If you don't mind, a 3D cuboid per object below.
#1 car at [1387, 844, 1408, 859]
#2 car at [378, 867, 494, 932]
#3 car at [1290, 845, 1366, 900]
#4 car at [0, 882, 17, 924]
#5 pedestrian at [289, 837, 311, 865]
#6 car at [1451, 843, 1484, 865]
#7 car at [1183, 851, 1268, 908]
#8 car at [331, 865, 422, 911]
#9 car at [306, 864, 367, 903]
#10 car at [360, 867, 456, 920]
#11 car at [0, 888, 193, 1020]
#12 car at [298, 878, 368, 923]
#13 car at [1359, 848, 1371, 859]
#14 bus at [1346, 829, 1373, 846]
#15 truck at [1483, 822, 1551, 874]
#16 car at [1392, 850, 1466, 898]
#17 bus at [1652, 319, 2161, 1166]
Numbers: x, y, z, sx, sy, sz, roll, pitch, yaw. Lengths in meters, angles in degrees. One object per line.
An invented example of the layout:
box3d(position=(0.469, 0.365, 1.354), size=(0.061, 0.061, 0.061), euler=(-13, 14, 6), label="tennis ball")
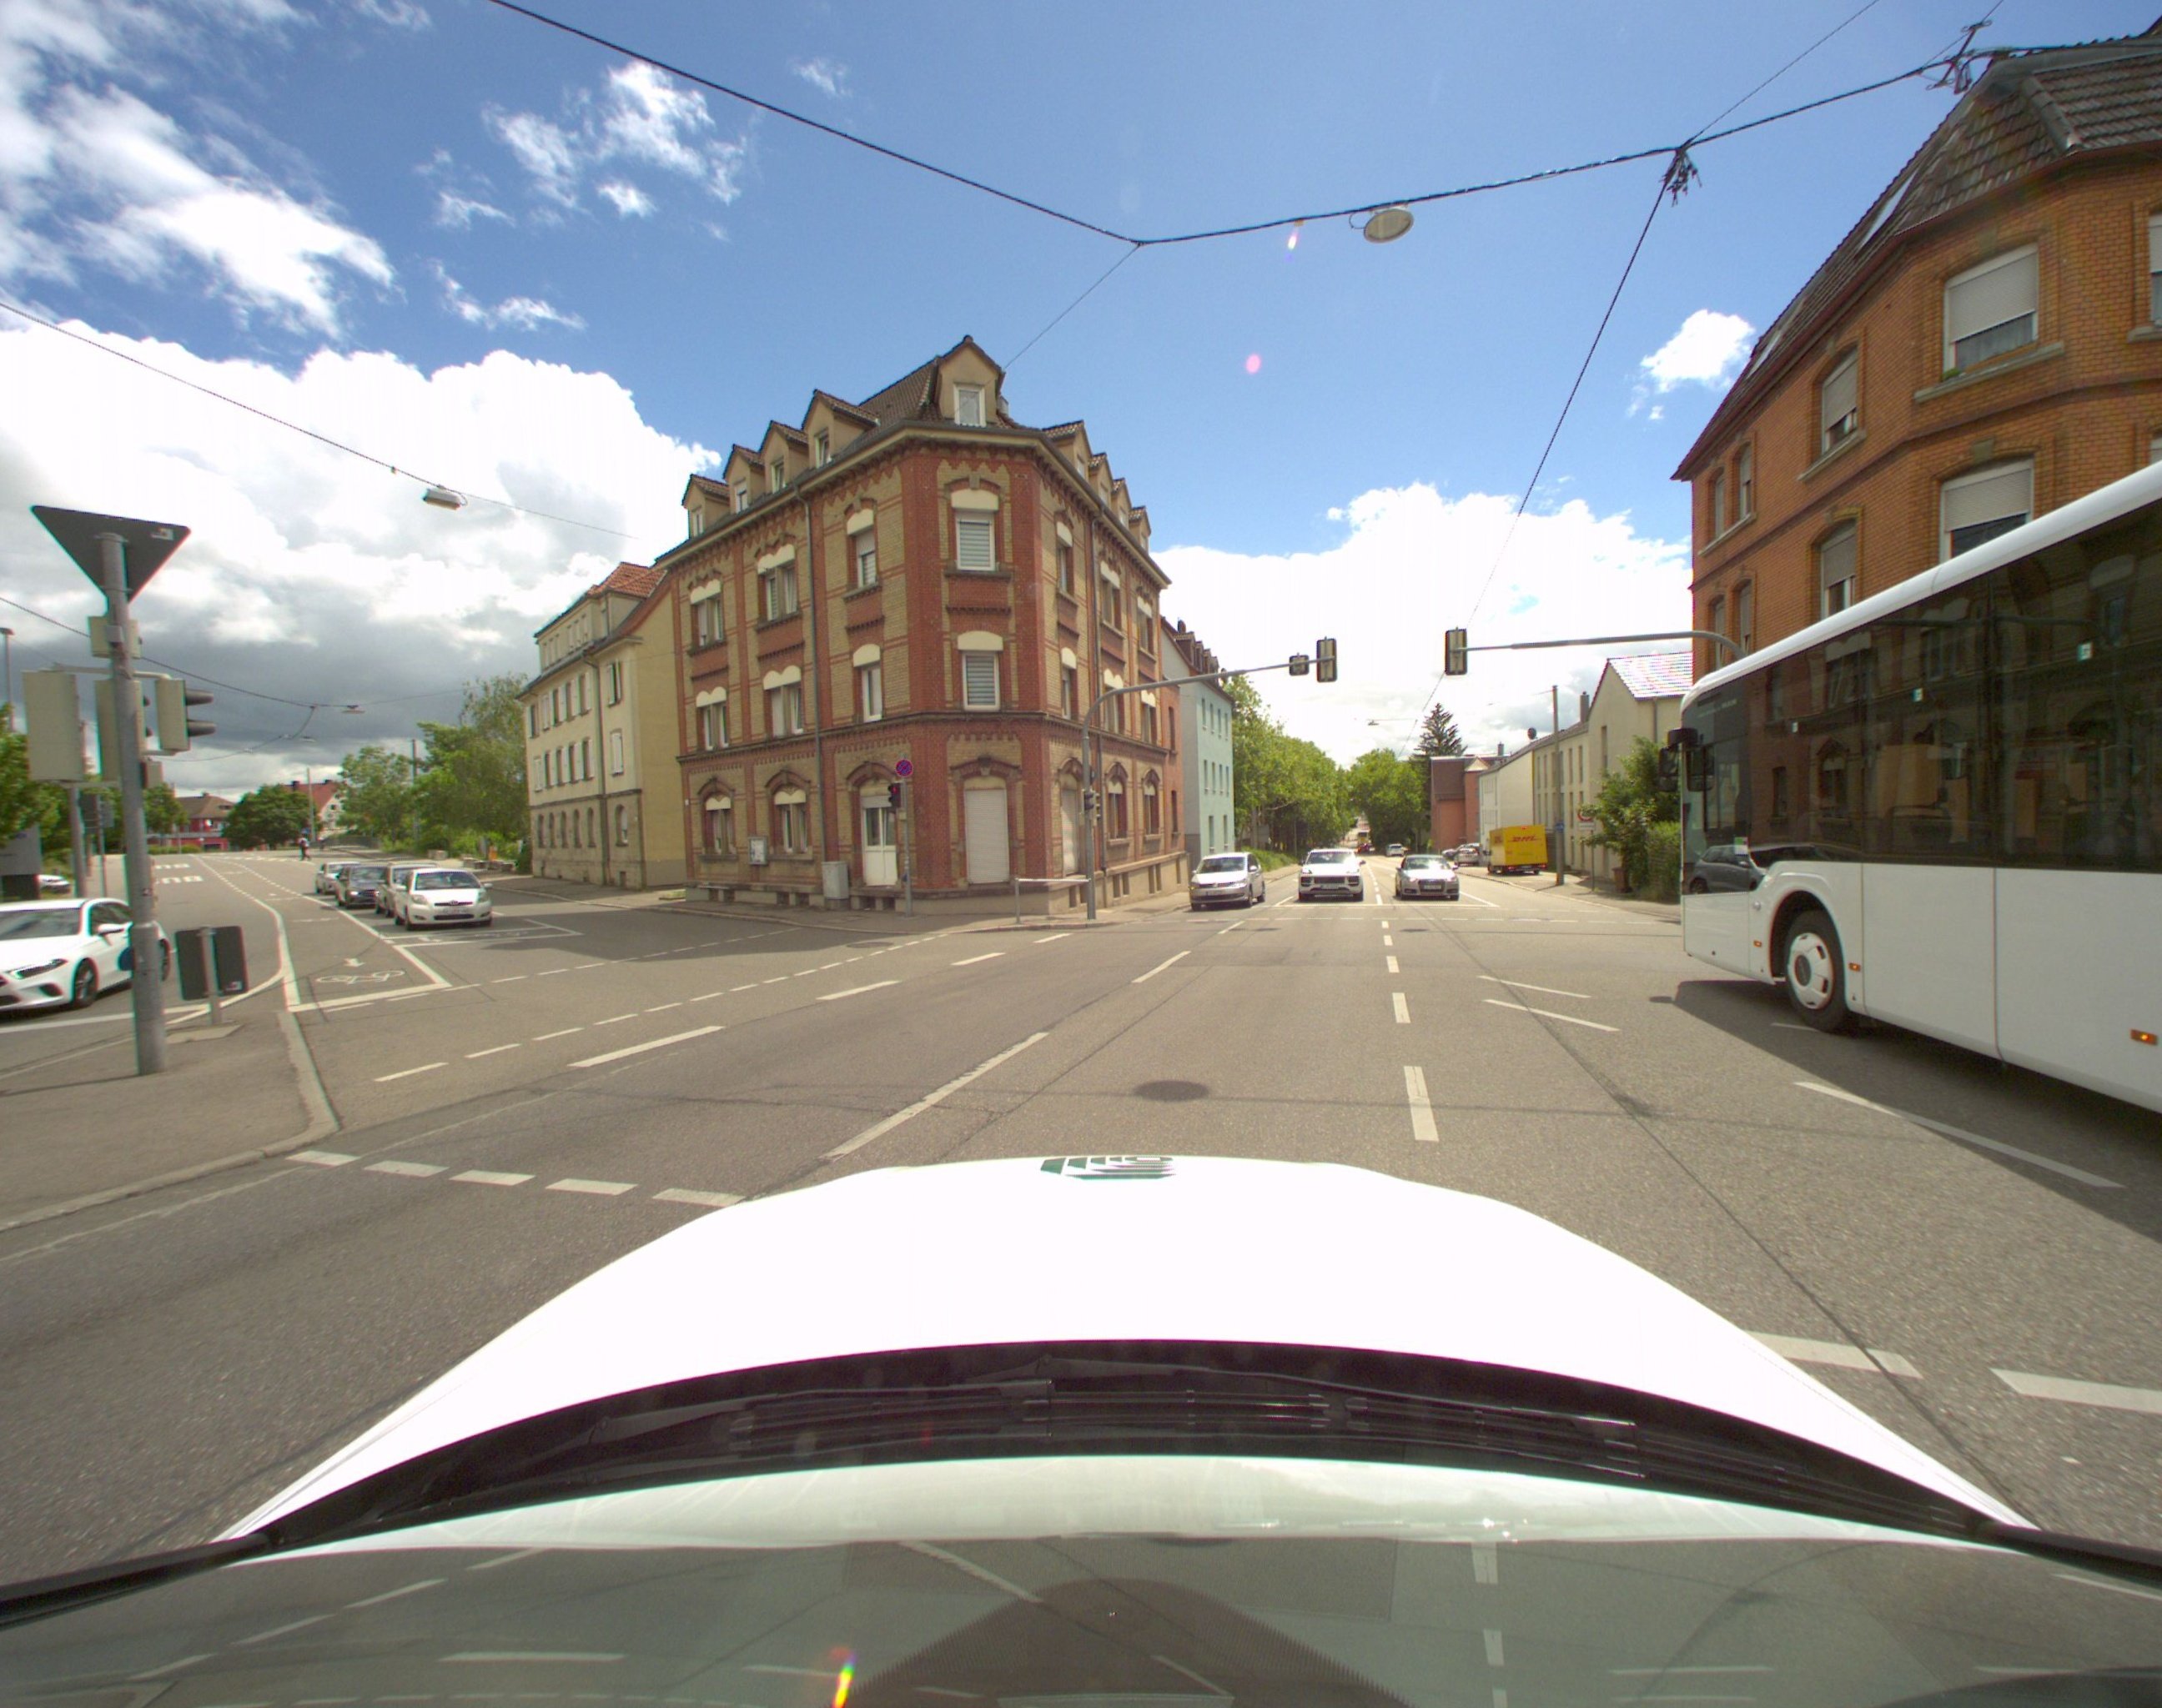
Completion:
box3d(position=(40.712, -0.346, 104.769), size=(2.076, 1.830, 4.160), euler=(-1, 0, 16), label="car")
box3d(position=(-16.915, 1.106, 21.293), size=(3.949, 1.497, 1.712), euler=(-1, 0, 42), label="car")
box3d(position=(8.285, 0.563, 27.053), size=(2.189, 1.613, 4.569), euler=(-2, 0, 19), label="car")
box3d(position=(-35.702, 1.581, 24.604), size=(4.022, 1.294, 1.796), euler=(-1, 0, -42), label="car")
box3d(position=(-57.427, -0.198, 59.856), size=(0.967, 2.013, 0.858), euler=(-1, 0, -31), label="pedestrian")
box3d(position=(32.479, -0.013, 68.598), size=(1.895, 1.816, 4.018), euler=(-1, 0, 17), label="car")
box3d(position=(4.623, 0.738, 25.564), size=(1.920, 1.563, 4.410), euler=(-2, 0, 19), label="car")
box3d(position=(-25.950, 1.196, 29.965), size=(3.949, 1.519, 2.012), euler=(-1, 0, 42), label="car")
box3d(position=(-35.673, 1.367, 38.984), size=(3.950, 1.720, 1.957), euler=(-1, 0, 45), label="car")
box3d(position=(-21.461, 1.208, 25.923), size=(3.949, 1.519, 1.758), euler=(-1, 0, 42), label="car")
box3d(position=(-14.357, 1.319, 11.199), size=(1.871, 1.447, 4.344), euler=(-5, 2, -35), label="car")
box3d(position=(-30.903, 1.868, 33.620), size=(2.012, 1.586, 4.293), euler=(-2, 1, -44), label="car")
box3d(position=(47.069, -0.135, 135.129), size=(1.804, 1.784, 4.020), euler=(-2, 0, 19), label="car")
box3d(position=(66.469, -3.935, 194.648), size=(3.286, 3.631, 11.256), euler=(-2, 0, 4), label="bus")
box3d(position=(25.935, -0.335, 48.707), size=(2.520, 2.913, 6.604), euler=(-1, 0, 19), label="truck")
box3d(position=(11.239, 0.595, 26.555), size=(1.849, 1.367, 4.569), euler=(-2, 0, 19), label="car")
box3d(position=(5.789, -0.464, 2.730), size=(2.881, 3.510, 12.547), euler=(-1, 0, 19), label="bus")
